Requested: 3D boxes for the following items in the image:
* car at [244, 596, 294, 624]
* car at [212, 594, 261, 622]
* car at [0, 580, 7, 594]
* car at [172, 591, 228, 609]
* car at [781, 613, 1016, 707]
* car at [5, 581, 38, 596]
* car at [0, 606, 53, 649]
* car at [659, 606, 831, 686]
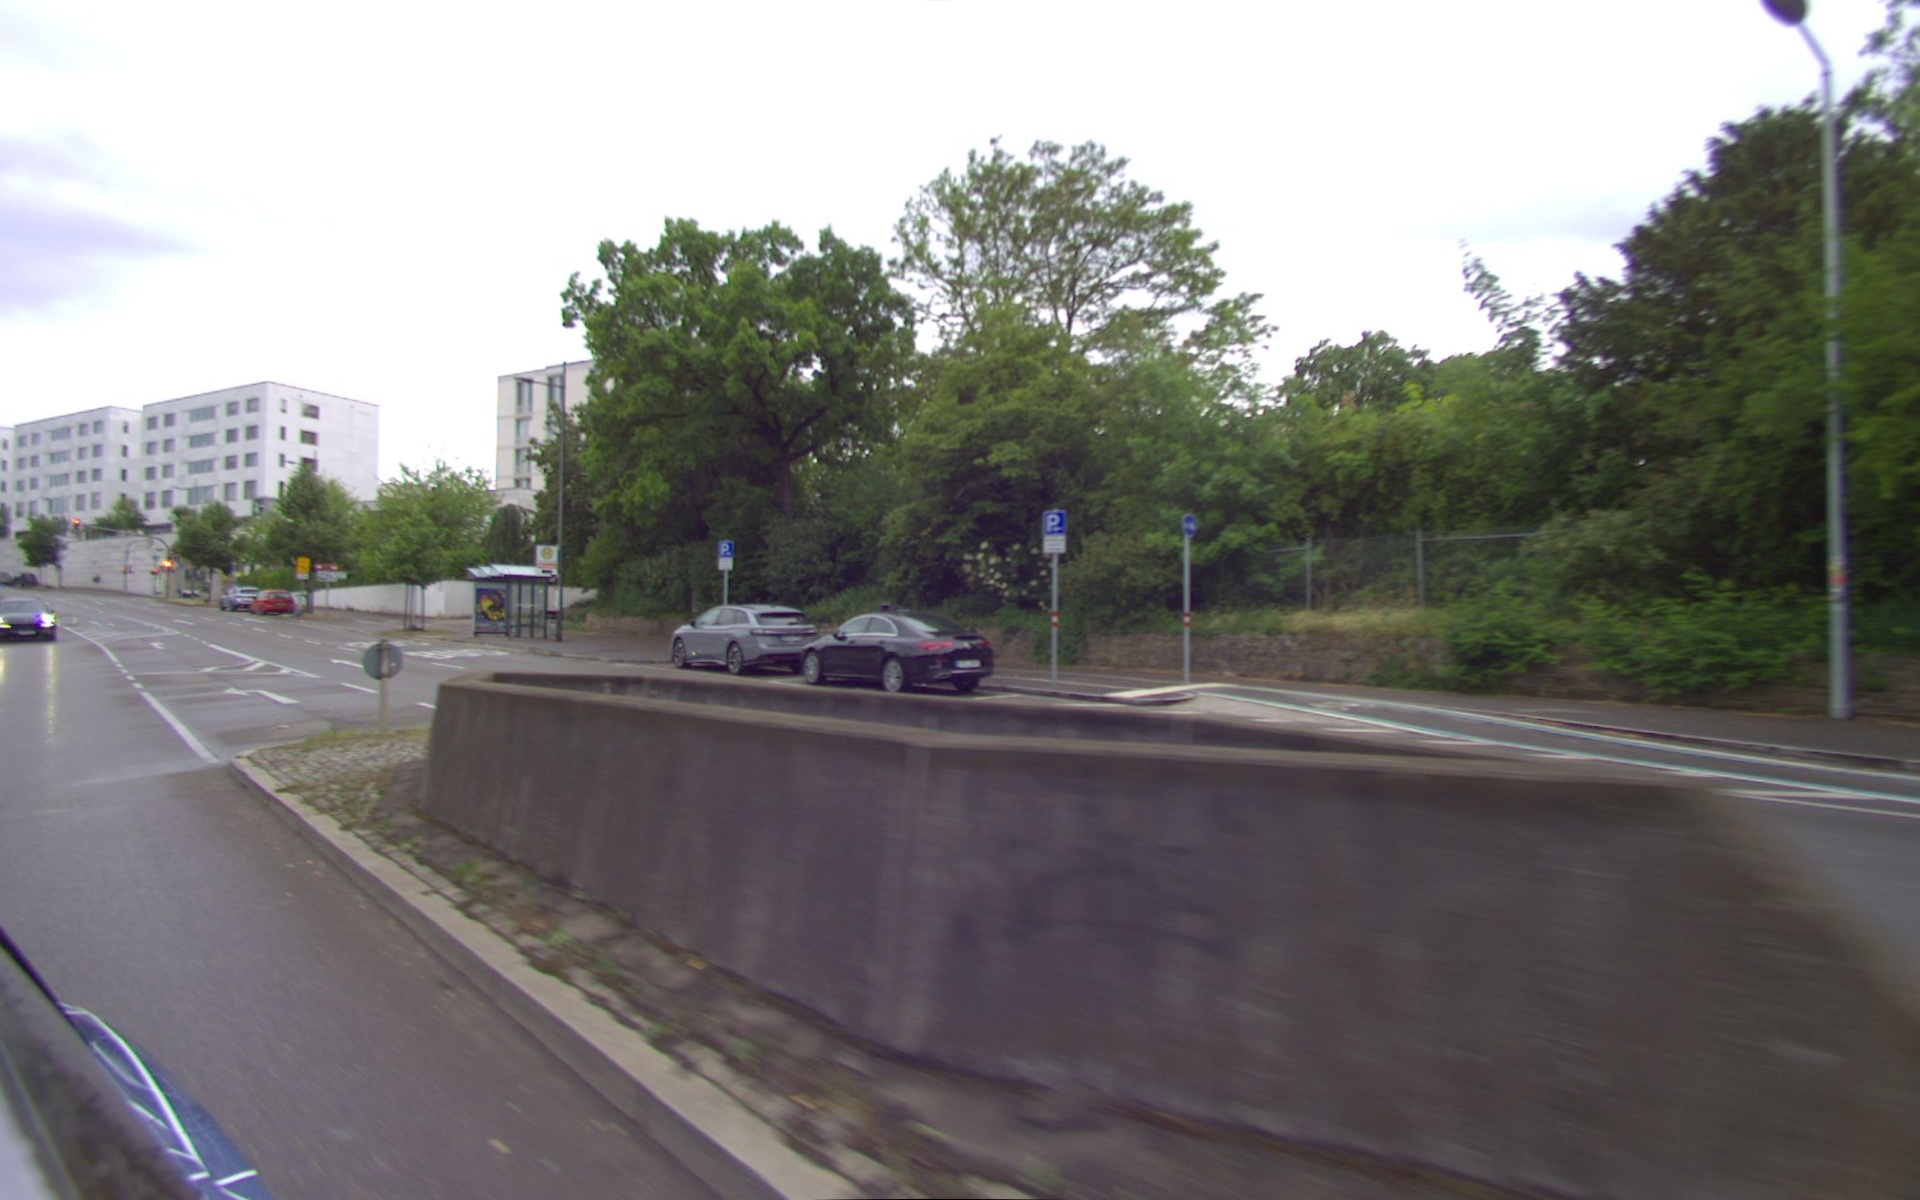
[{"bbox_3d":[-43.509,0.622,63.701,4.217,1.598,1.647,2,0,43],"label":"car"},{"bbox_3d":[-48.800,0.519,68.197,4.884,1.666,1.745,2,2,43],"label":"car"},{"bbox_3d":[-105.572,-1.450,109.834,3.978,1.489,1.848,2,0,25],"label":"car"},{"bbox_3d":[-79.797,0.005,106.334,1.988,1.664,4.310,2,0,24],"label":"car"},{"bbox_3d":[-1.285,0.998,18.821,1.882,1.425,4.791,-1,1,-40],"label":"car"},{"bbox_3d":[-99.992,-1.184,107.787,2.681,1.470,1.667,2,-1,25],"label":"car"},{"bbox_3d":[-38.067,1.088,40.926,4.002,1.605,1.804,0,1,44],"label":"car"},{"bbox_3d":[-5.113,0.969,23.578,1.818,1.601,4.937,-1,1,-40],"label":"car"}]
